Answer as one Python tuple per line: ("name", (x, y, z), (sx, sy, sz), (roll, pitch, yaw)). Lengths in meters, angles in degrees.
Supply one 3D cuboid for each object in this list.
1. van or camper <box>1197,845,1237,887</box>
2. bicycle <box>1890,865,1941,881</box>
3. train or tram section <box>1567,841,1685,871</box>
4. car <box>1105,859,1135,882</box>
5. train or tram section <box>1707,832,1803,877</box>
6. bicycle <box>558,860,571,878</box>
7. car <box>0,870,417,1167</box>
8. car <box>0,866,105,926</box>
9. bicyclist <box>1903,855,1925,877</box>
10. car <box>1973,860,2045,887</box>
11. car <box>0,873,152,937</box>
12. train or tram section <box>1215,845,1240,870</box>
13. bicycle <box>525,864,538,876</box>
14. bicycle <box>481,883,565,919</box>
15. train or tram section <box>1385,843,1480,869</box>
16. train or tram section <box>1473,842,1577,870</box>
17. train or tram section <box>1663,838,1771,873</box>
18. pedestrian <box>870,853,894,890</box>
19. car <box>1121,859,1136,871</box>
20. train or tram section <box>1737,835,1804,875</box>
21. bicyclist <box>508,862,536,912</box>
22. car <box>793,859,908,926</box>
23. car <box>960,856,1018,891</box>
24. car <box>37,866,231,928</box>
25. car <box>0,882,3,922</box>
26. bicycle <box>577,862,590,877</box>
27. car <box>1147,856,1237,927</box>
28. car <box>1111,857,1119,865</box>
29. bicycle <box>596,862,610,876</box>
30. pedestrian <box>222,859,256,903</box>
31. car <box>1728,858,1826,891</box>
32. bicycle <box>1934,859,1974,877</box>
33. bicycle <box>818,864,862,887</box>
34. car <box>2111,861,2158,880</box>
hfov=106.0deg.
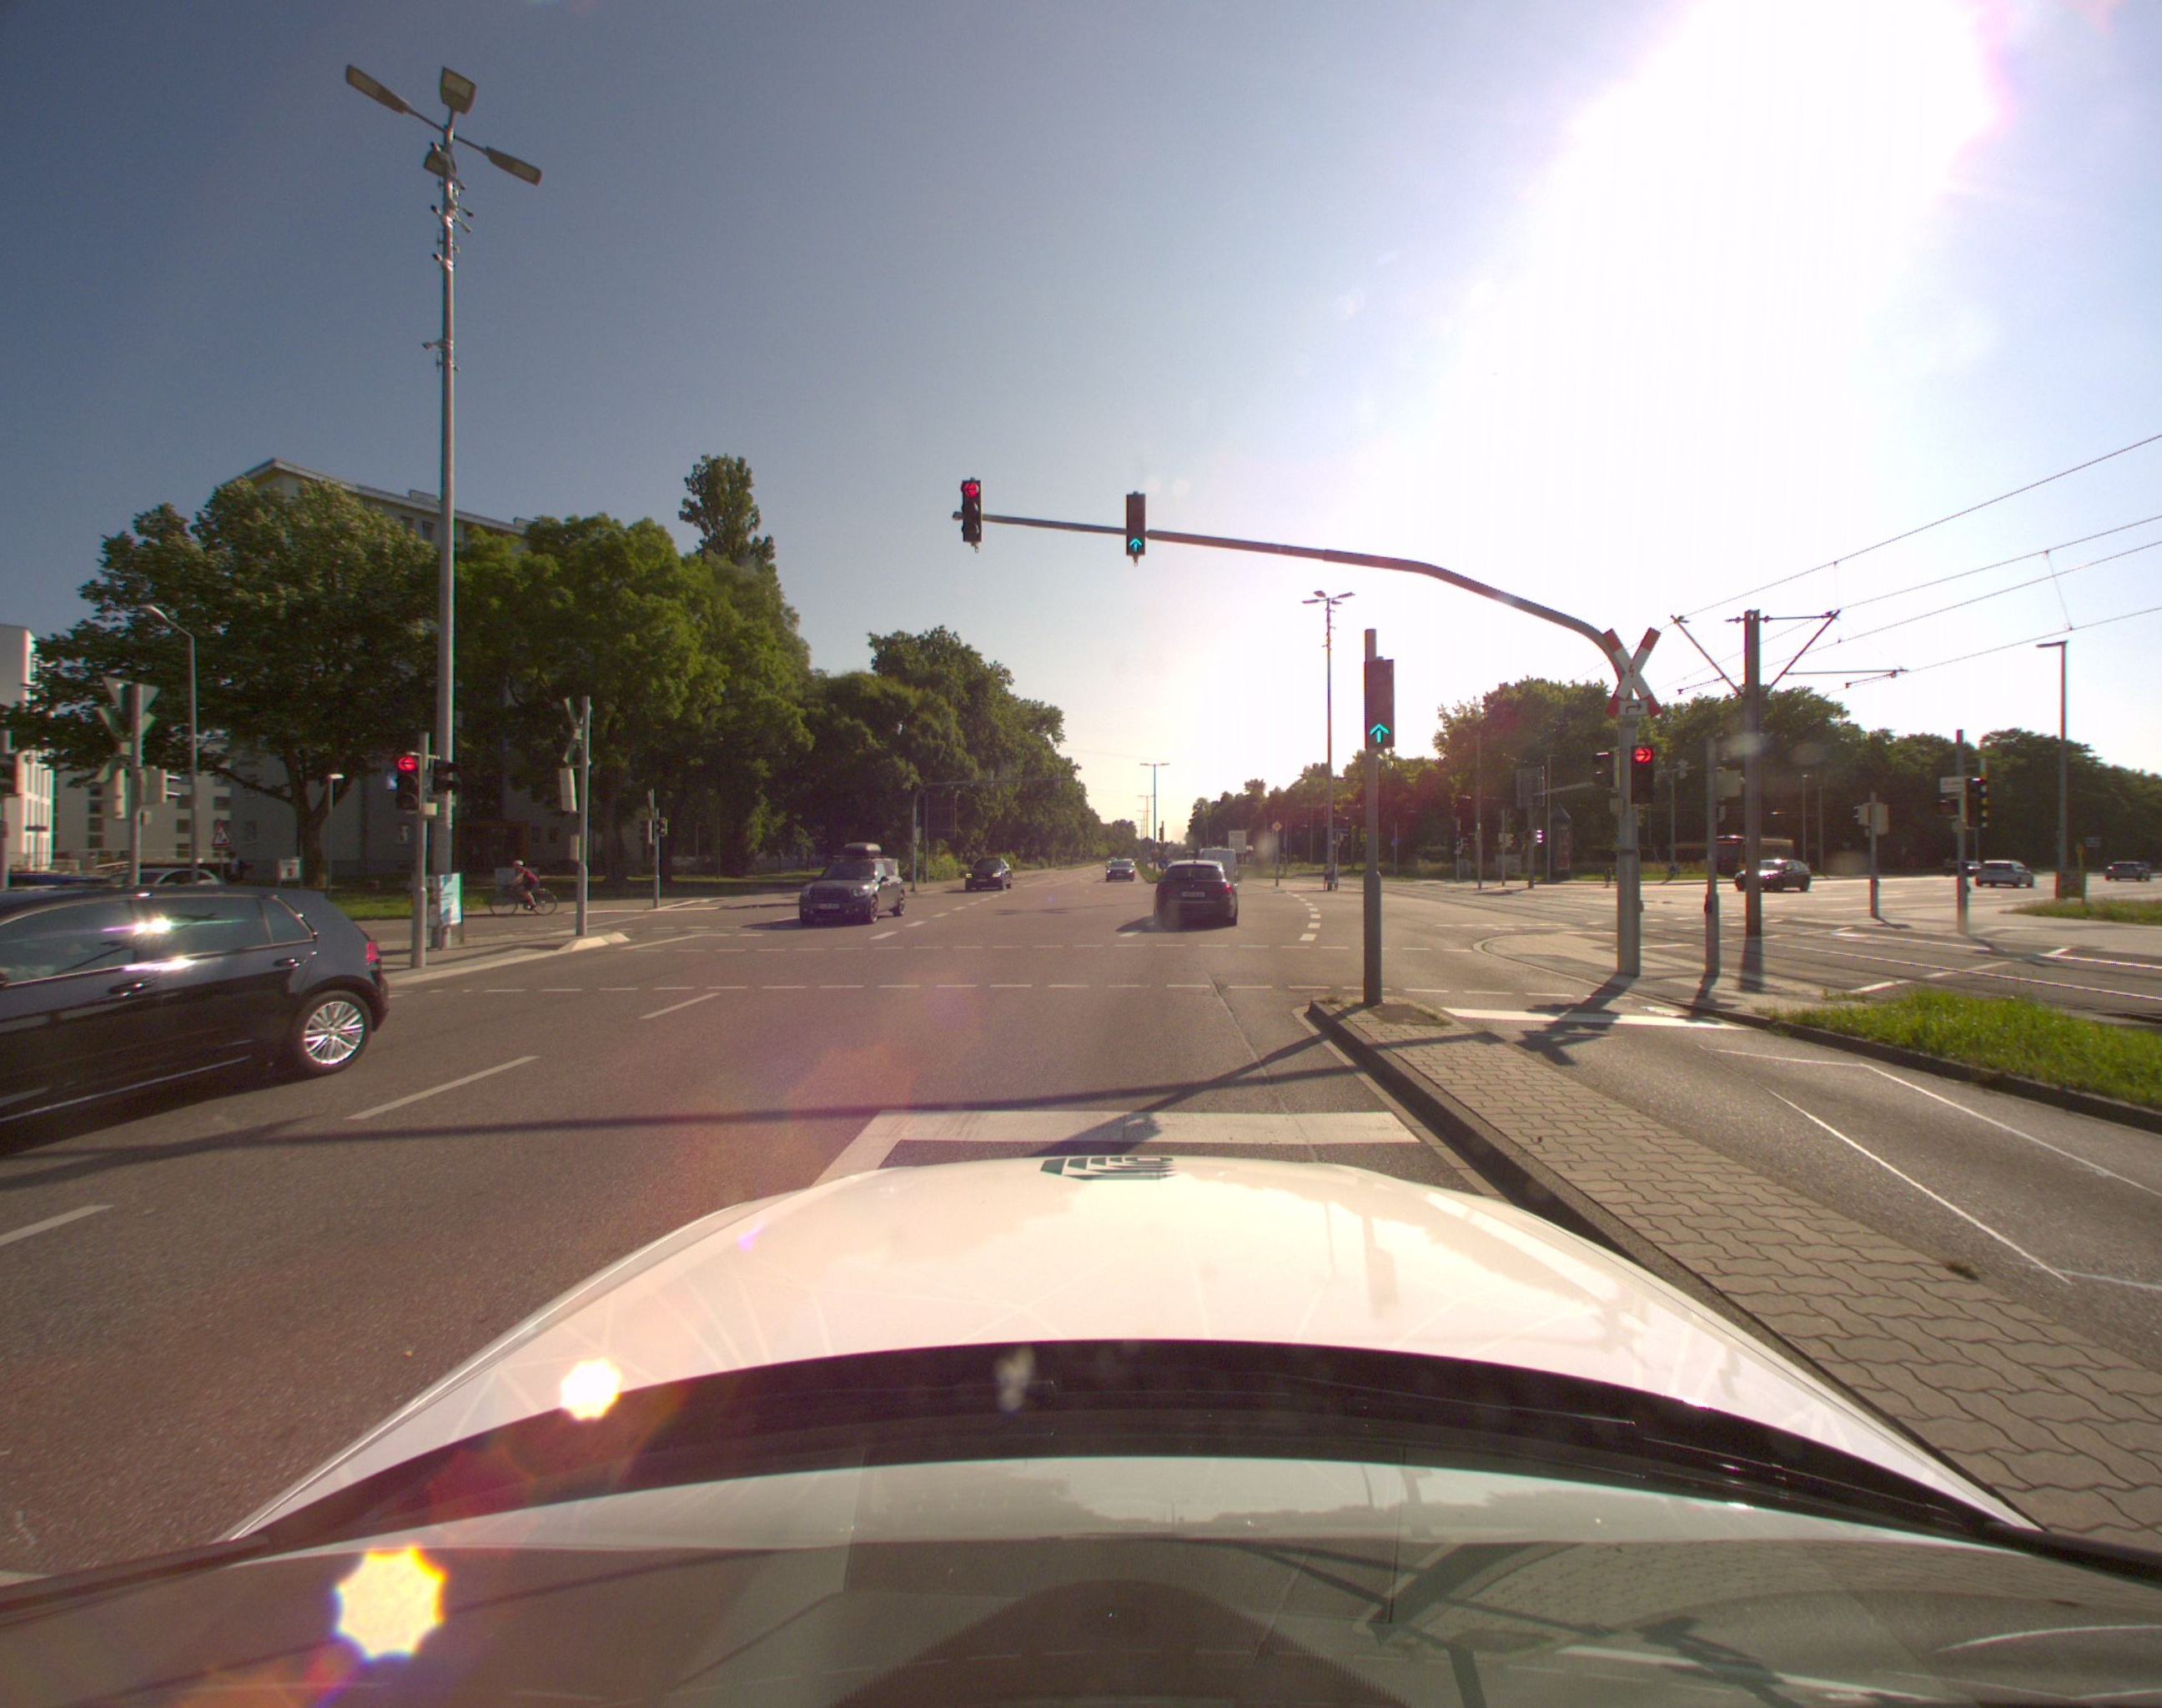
("van or camper", (7.181, 0.609, 43.145), (1.982, 2.096, 4.609), (0, 0, 9))
("bicycle", (78.627, 1.741, 76.760), (1.131, 1.454, 3.207), (1, -1, -20))
("train or tram section", (67.650, 0.257, 101.608), (3.064, 3.579, 12.109), (0, 0, -31))
("car", (2.653, 1.060, 54.323), (1.821, 1.431, 4.736), (-1, 0, 4))
("train or tram section", (57.910, 0.047, 69.851), (11.896, 3.579, 3.022), (0, 0, -33))
("bicycle", (-32.688, 0.959, 51.541), (0.615, 1.066, 1.897), (1, -2, -34))
("car", (-6.436, 0.870, 4.605), (1.881, 1.474, 4.102), (-1, 0, 2))
("car", (-30.948, 1.209, 23.317), (1.782, 1.415, 3.983), (0, 3, -14))
("bicyclist", (78.588, 1.157, 76.877), (1.140, 2.014, 1.091), (1, -1, -21))
("car", (56.519, 1.170, 49.576), (4.211, 1.563, 1.840), (0, 0, -26))
("car", (-25.294, 1.180, 19.124), (4.240, 1.414, 1.775), (0, 0, -17))
("train or tram section", (22.275, 0.616, 124.097), (2.782, 3.618, 12.976), (1, -1, 6))
("bicycle", (-34.319, 0.975, 50.860), (0.587, 0.708, 2.216), (1, 0, -32))
("bicycle", (-17.460, 1.452, 25.505), (0.614, 1.040, 2.084), (0, -1, 43))
("train or tram section", (50.794, 0.278, 117.988), (12.279, 3.579, 3.073), (0, -1, 33))
("train or tram section", (60.366, 0.284, 111.038), (12.073, 3.579, 3.073), (0, -1, 38))
("train or tram section", (69.911, 0.150, 90.087), (3.031, 3.579, 12.241), (0, 0, 3))
("pedestrian", (-9.638, 0.824, 39.519), (0.811, 1.752, 0.933), (0, 0, 7))
("car", (6.300, 1.428, 108.417), (1.840, 1.477, 4.652), (0, 0, 5))
("train or tram section", (66.288, 0.143, 78.628), (3.015, 3.579, 12.307), (0, 0, 31))
("bicyclist", (-17.475, 1.019, 25.474), (0.601, 1.560, 0.606), (-1, -1, 44))
("car", (-5.771, 0.912, 20.889), (1.783, 1.520, 4.000), (-1, 0, 0))
("car", (-4.595, 0.964, 41.211), (1.979, 1.659, 4.392), (-1, 0, 6))
("car", (-28.030, 1.196, 24.329), (1.782, 1.439, 3.981), (0, 3, -15))
("car", (-32.954, 1.449, 22.697), (1.463, 1.193, 3.768), (0, 0, -15))
("bicycle", (-31.942, 0.991, 52.251), (0.678, 0.875, 2.460), (0, 0, -32))
("car", (2.643, 0.803, 19.365), (1.892, 1.506, 4.074), (0, 0, 8))
("car", (7.585, 1.496, 183.412), (1.781, 1.772, 4.572), (0, 0, 2))
("bicycle", (-31.027, 0.958, 52.835), (0.673, 0.919, 2.382), (0, 0, -32))
("pedestrian", (-32.947, 1.052, 31.864), (0.619, 1.713, 0.707), (0, 0, 14))
("car", (35.738, 1.030, 41.796), (4.871, 1.562, 2.027), (-1, 0, -26))
("bicycle", (85.296, 1.334, 79.551), (0.798, 1.713, 2.586), (1, 0, -33))
("bicycle", (-11.707, 1.048, 39.574), (1.902, 1.119, 0.632), (0, -1, 2))
("car", (80.658, 1.242, 62.351), (3.538, 1.383, 1.592), (0, 0, -28))
